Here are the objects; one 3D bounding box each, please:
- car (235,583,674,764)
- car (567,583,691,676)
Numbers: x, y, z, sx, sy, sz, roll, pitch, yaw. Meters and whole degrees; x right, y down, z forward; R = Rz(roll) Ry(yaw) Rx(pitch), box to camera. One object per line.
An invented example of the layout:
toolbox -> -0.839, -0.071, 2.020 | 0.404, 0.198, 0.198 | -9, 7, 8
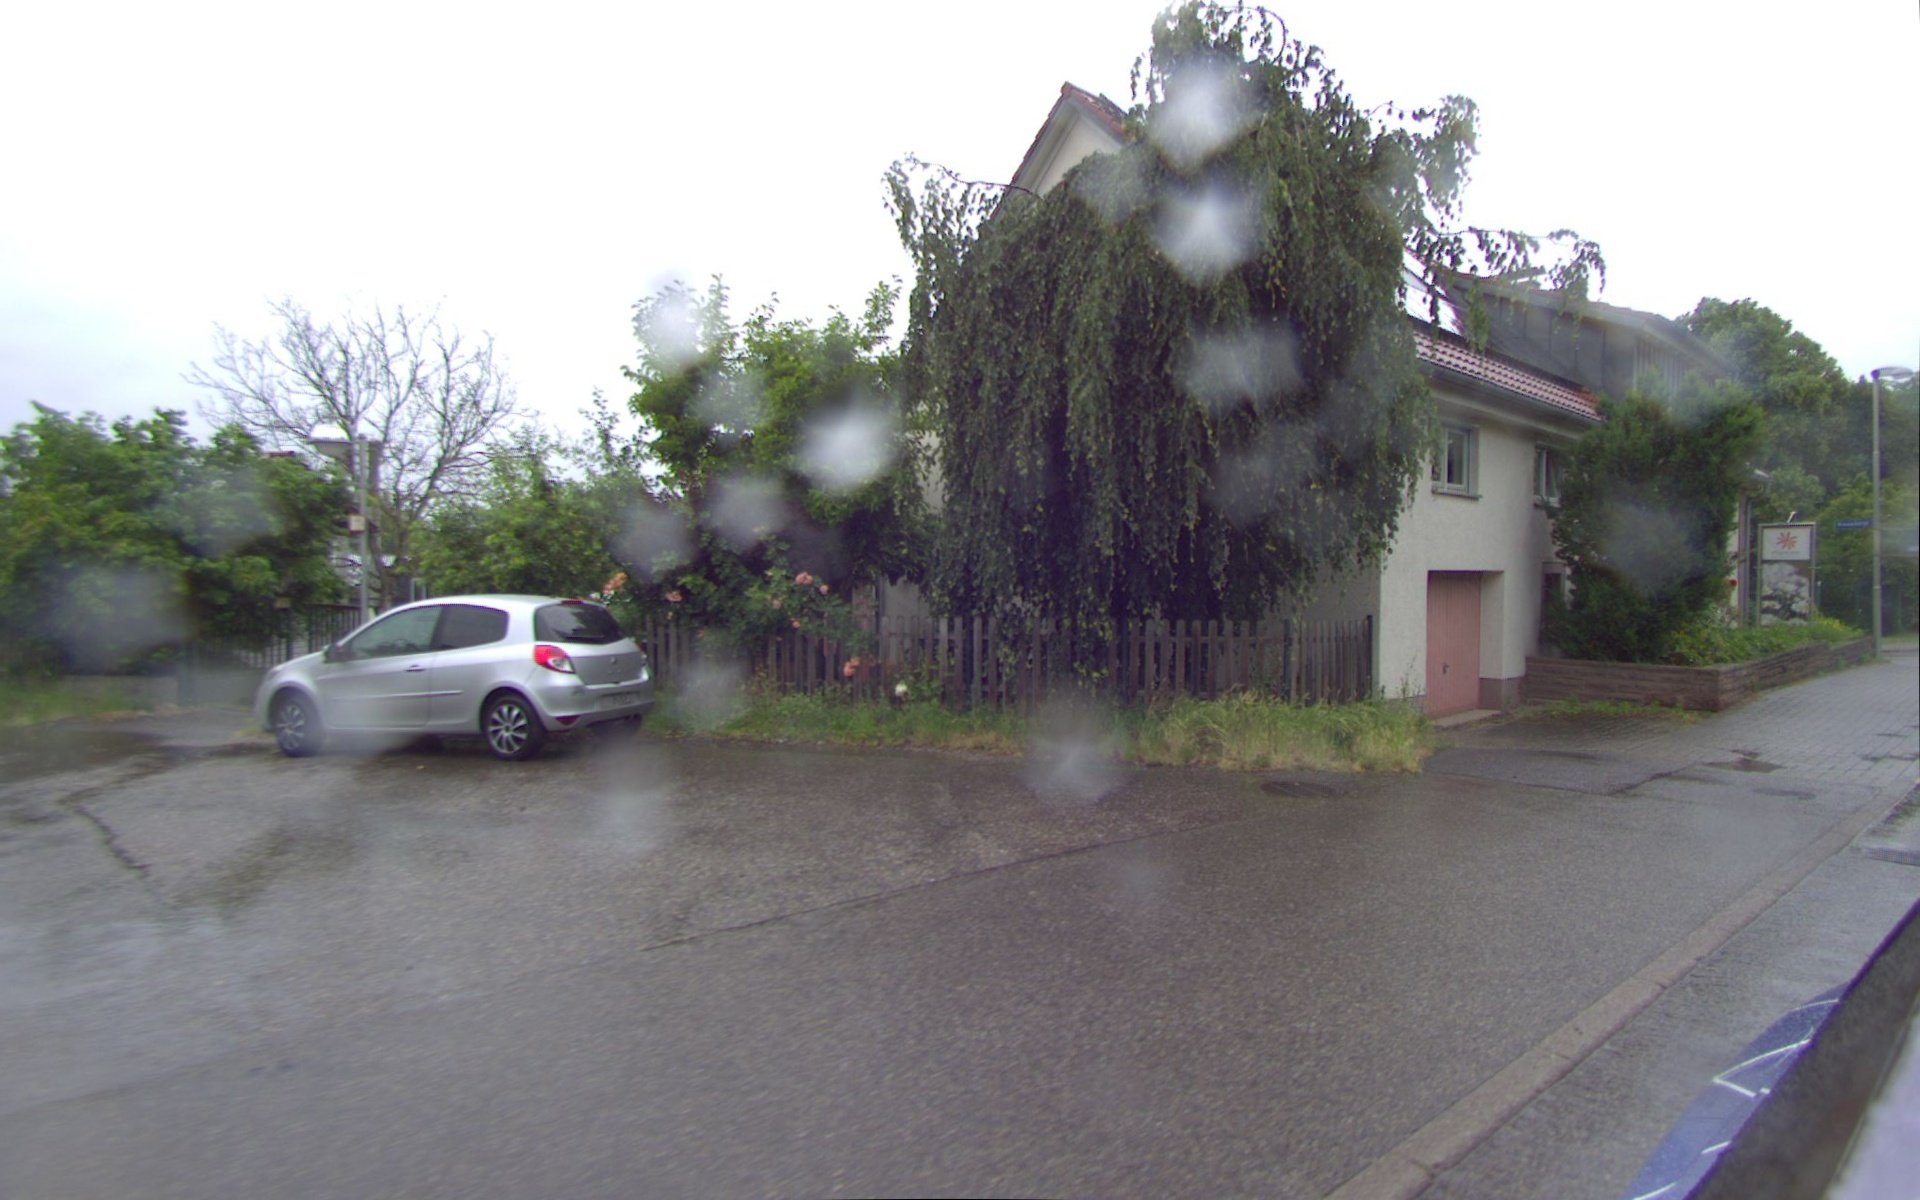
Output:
car -> -4.978, 0.637, 10.064 | 3.804, 1.551, 1.710 | -1, 0, 17
car -> -9.737, 0.793, 30.115 | 1.966, 2.543, 3.992 | 1, 0, 7
